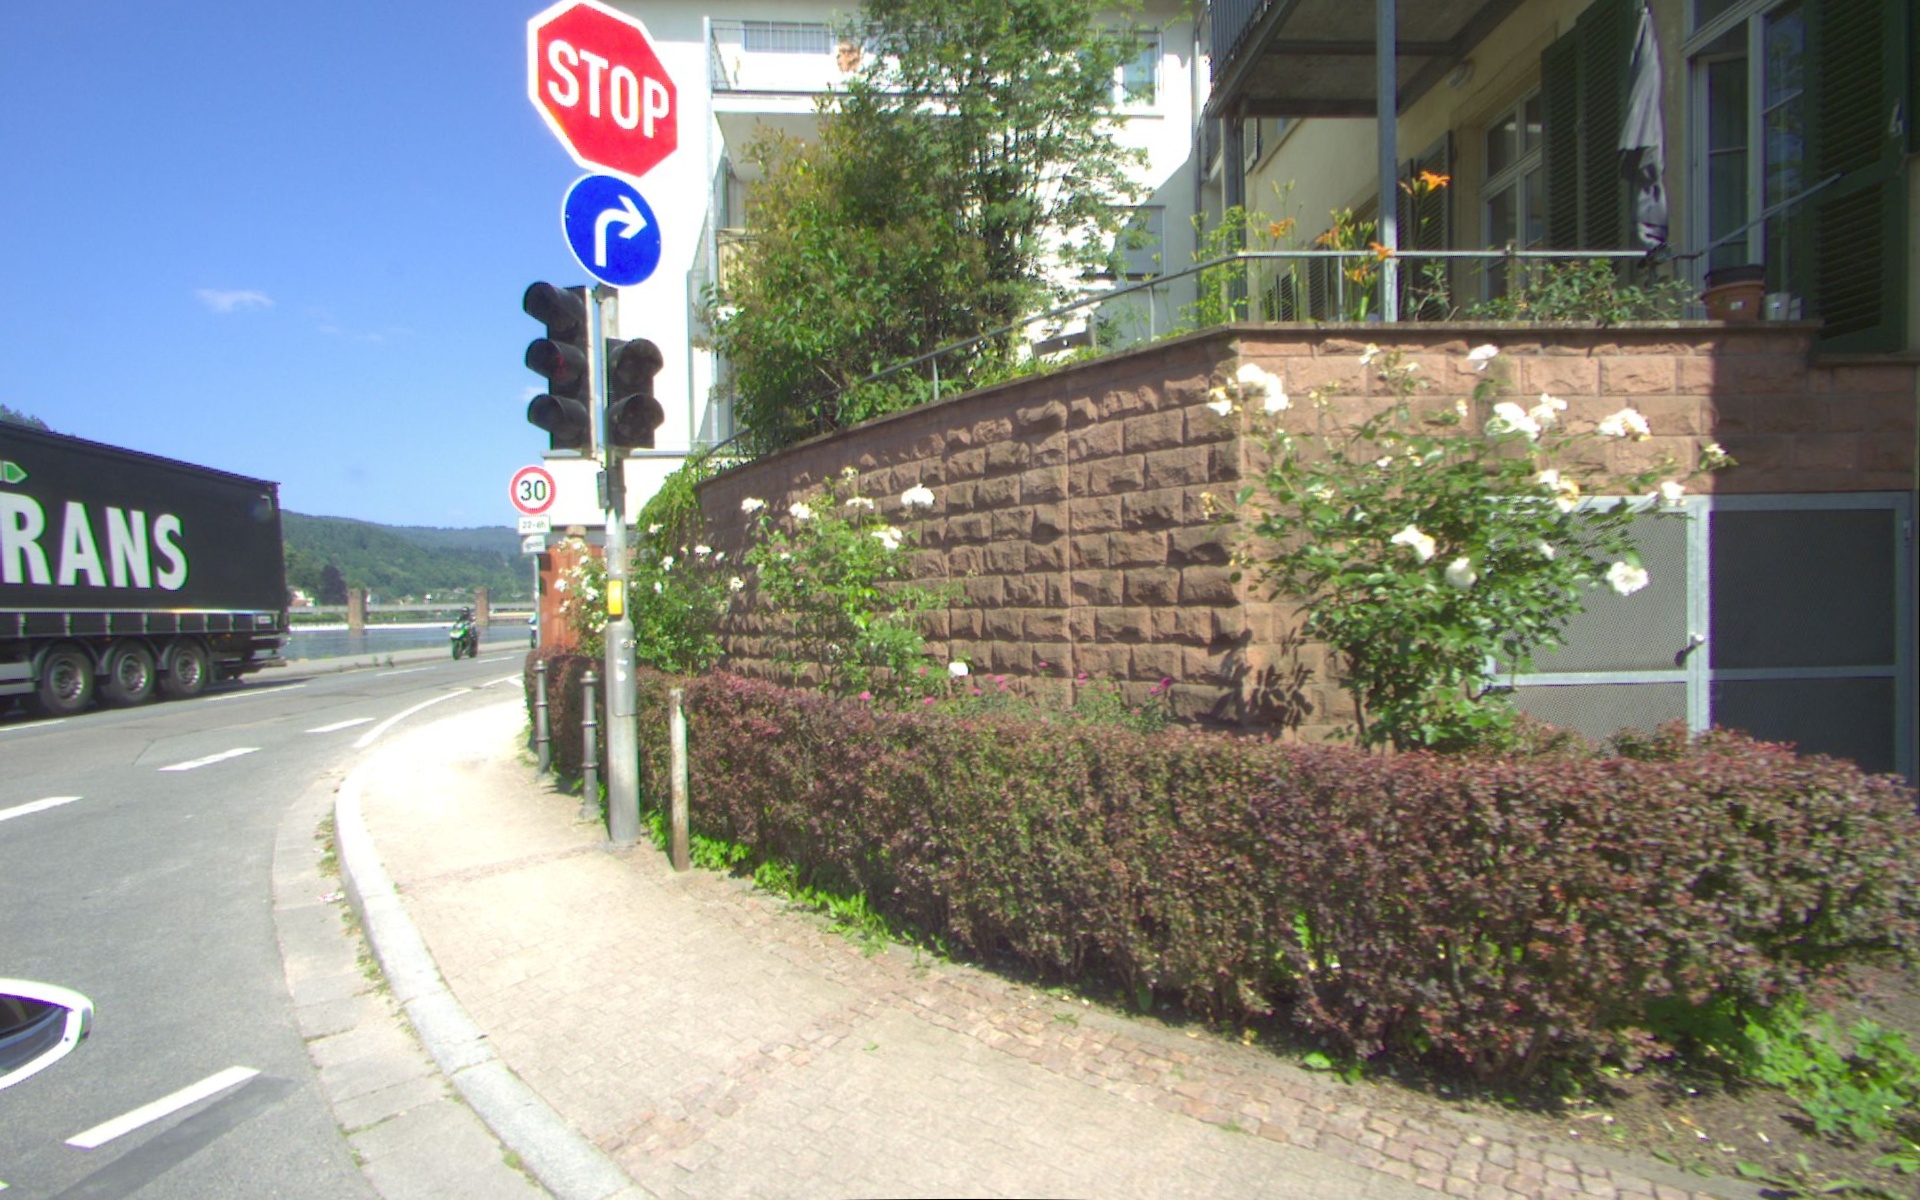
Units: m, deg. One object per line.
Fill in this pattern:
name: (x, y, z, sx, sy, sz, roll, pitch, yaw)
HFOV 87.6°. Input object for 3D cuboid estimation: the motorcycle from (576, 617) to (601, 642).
motorcycle: (-16.704, 1.312, 45.061, 0.646, 1.038, 1.815, -1, 0, -7)

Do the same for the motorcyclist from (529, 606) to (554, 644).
motorcyclist: (-17.424, 1.043, 41.692, 0.653, 1.545, 0.991, -3, 1, -7)

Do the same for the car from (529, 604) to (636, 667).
car: (-9.285, 0.845, 24.903, 1.661, 1.417, 3.738, 1, -1, -8)

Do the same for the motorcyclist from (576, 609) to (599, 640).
motorcyclist: (-16.670, 1.082, 44.845, 0.774, 1.384, 0.800, -1, 0, -7)

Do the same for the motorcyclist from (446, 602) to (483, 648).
motorcyclist: (-16.344, 0.822, 33.049, 0.766, 1.479, 0.991, -3, 1, -7)

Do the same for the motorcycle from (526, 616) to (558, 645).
motorcycle: (-17.412, 1.259, 41.766, 0.623, 1.138, 2.092, -3, 0, -7)

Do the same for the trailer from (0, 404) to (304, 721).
trailer: (-13.960, -0.440, 13.091, 2.788, 4.158, 13.767, -3, 0, -6)

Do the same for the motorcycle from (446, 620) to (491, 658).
motorcycle: (-16.298, 1.276, 33.257, 0.623, 1.138, 2.092, -3, 0, -7)
